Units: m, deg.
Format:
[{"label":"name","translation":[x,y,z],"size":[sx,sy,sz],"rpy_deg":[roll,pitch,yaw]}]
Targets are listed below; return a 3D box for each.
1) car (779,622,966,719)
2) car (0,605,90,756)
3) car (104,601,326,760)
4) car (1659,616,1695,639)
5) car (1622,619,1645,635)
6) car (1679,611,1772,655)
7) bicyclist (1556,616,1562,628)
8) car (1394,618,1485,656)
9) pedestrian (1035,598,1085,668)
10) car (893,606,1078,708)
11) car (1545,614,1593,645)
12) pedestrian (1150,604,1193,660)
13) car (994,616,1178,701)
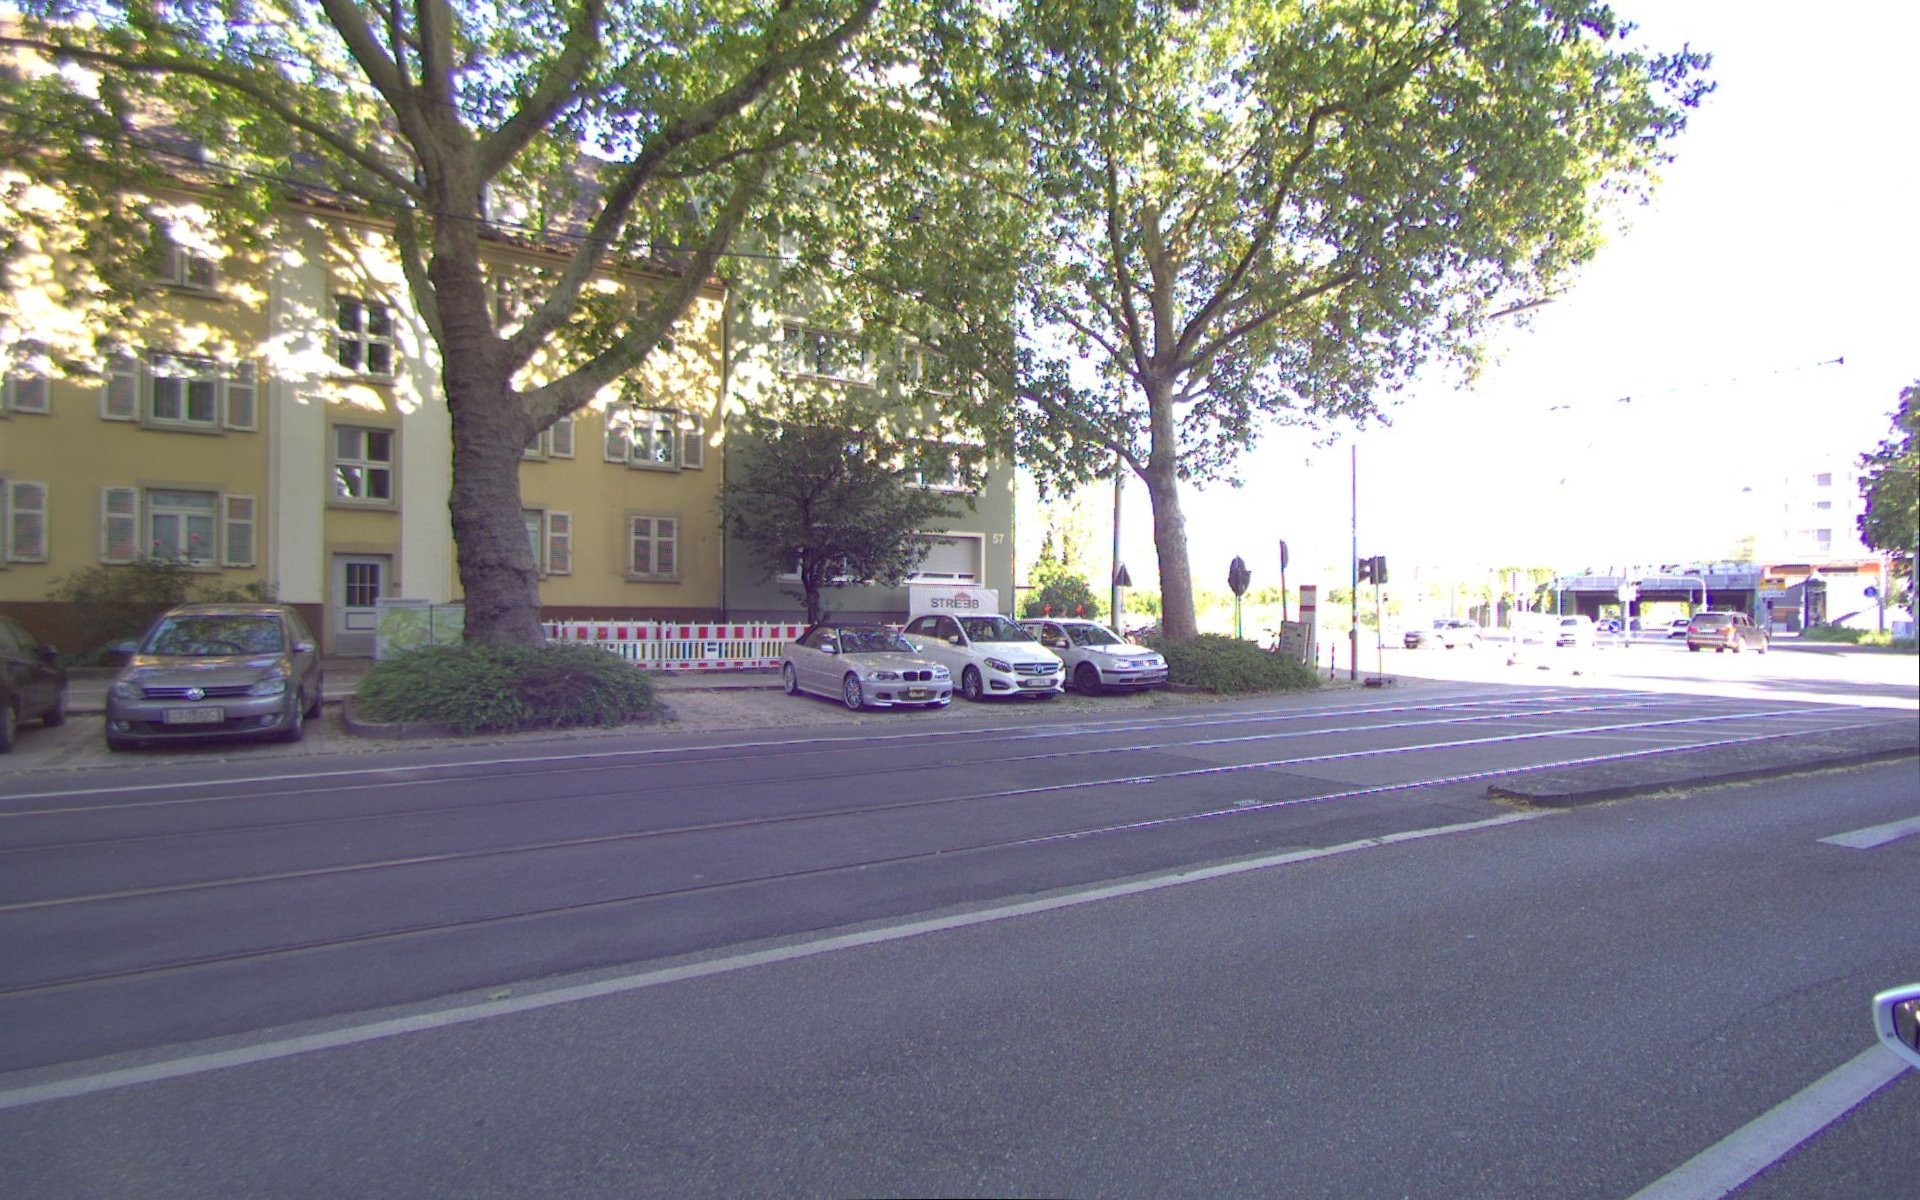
[{"label":"car","translation":[-1.631,1.113,17.316],"size":[1.651,1.370,3.949],"rpy_deg":[1,0,-31]},{"label":"car","translation":[-11.446,0.837,11.391],"size":[1.652,1.518,3.778],"rpy_deg":[1,0,-30]},{"label":"car","translation":[-8.980,0.837,12.423],"size":[1.652,1.602,3.953],"rpy_deg":[1,0,-29]},{"label":"car","translation":[53.874,2.058,75.535],"size":[1.964,1.572,4.185],"rpy_deg":[2,0,33]},{"label":"car","translation":[71.146,2.892,106.110],"size":[1.860,1.606,3.823],"rpy_deg":[2,0,37]},{"label":"car","translation":[34.592,1.460,45.373],"size":[4.794,1.907,1.897],"rpy_deg":[1,-1,-34]},{"label":"bicyclist","translation":[61.112,2.225,102.487],"size":[0.518,1.239,0.528],"rpy_deg":[0,0,32]},{"label":"car","translation":[23.801,1.806,49.879],"size":[4.307,1.788,1.974],"rpy_deg":[1,-1,-29]},{"label":"pedestrian","translation":[2.478,0.806,24.893],"size":[0.943,1.683,0.769],"rpy_deg":[2,0,-28]},{"label":"car","translation":[0.369,0.987,19.161],"size":[1.651,1.669,3.949],"rpy_deg":[1,0,-31]},{"label":"car","translation":[33.635,1.633,55.424],"size":[1.860,1.606,3.823],"rpy_deg":[2,0,37]},{"label":"pedestrian","translation":[6.471,0.980,30.762],"size":[0.919,1.669,0.841],"rpy_deg":[2,0,-30]},{"label":"car","translation":[2.459,1.113,20.536],"size":[1.651,1.473,3.949],"rpy_deg":[1,0,-31]}]
